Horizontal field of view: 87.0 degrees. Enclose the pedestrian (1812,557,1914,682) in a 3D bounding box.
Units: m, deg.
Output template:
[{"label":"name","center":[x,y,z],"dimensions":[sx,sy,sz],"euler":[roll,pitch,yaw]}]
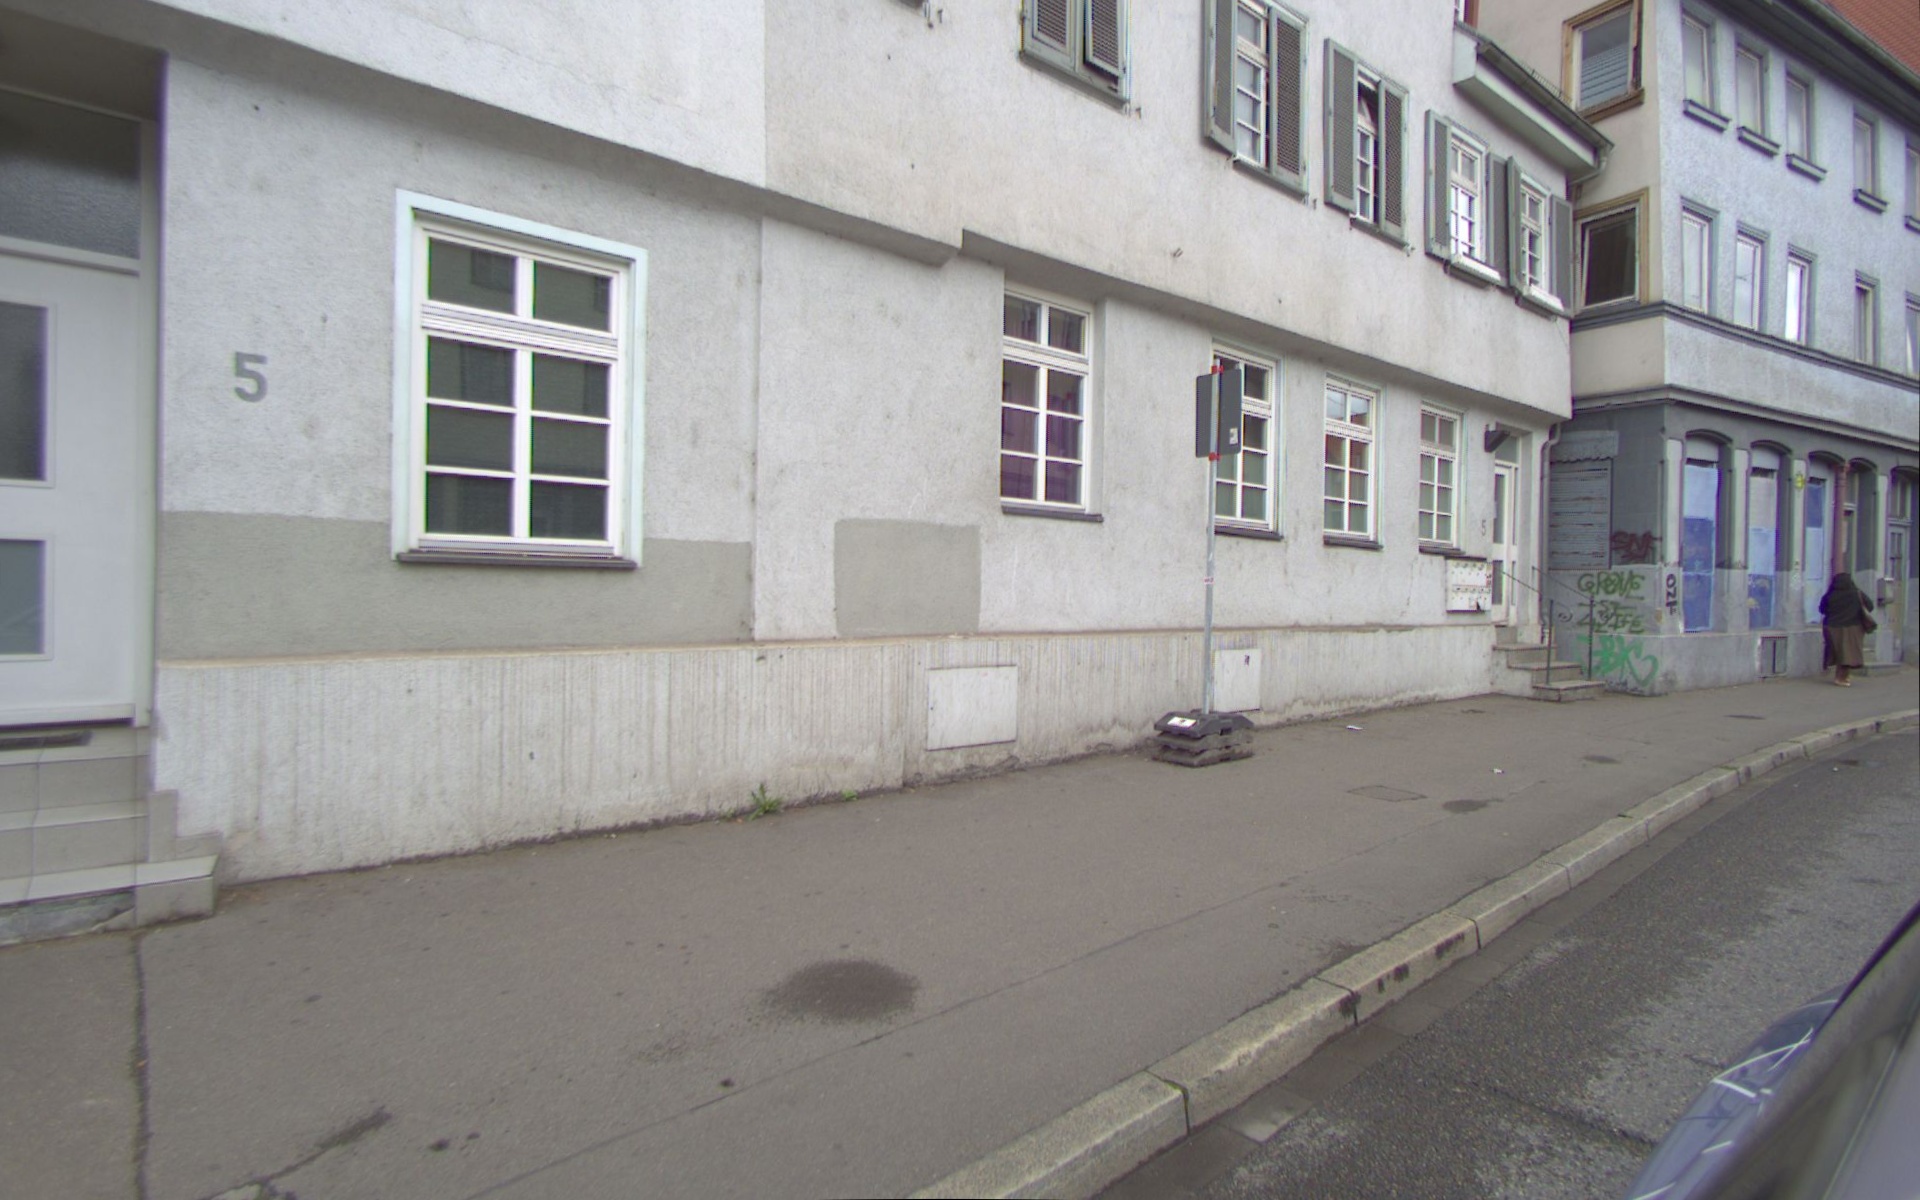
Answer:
[{"label":"pedestrian","center":[12.897,0.258,14.460],"dimensions":[0.793,1.687,0.759],"euler":[1,4,-31]}]
